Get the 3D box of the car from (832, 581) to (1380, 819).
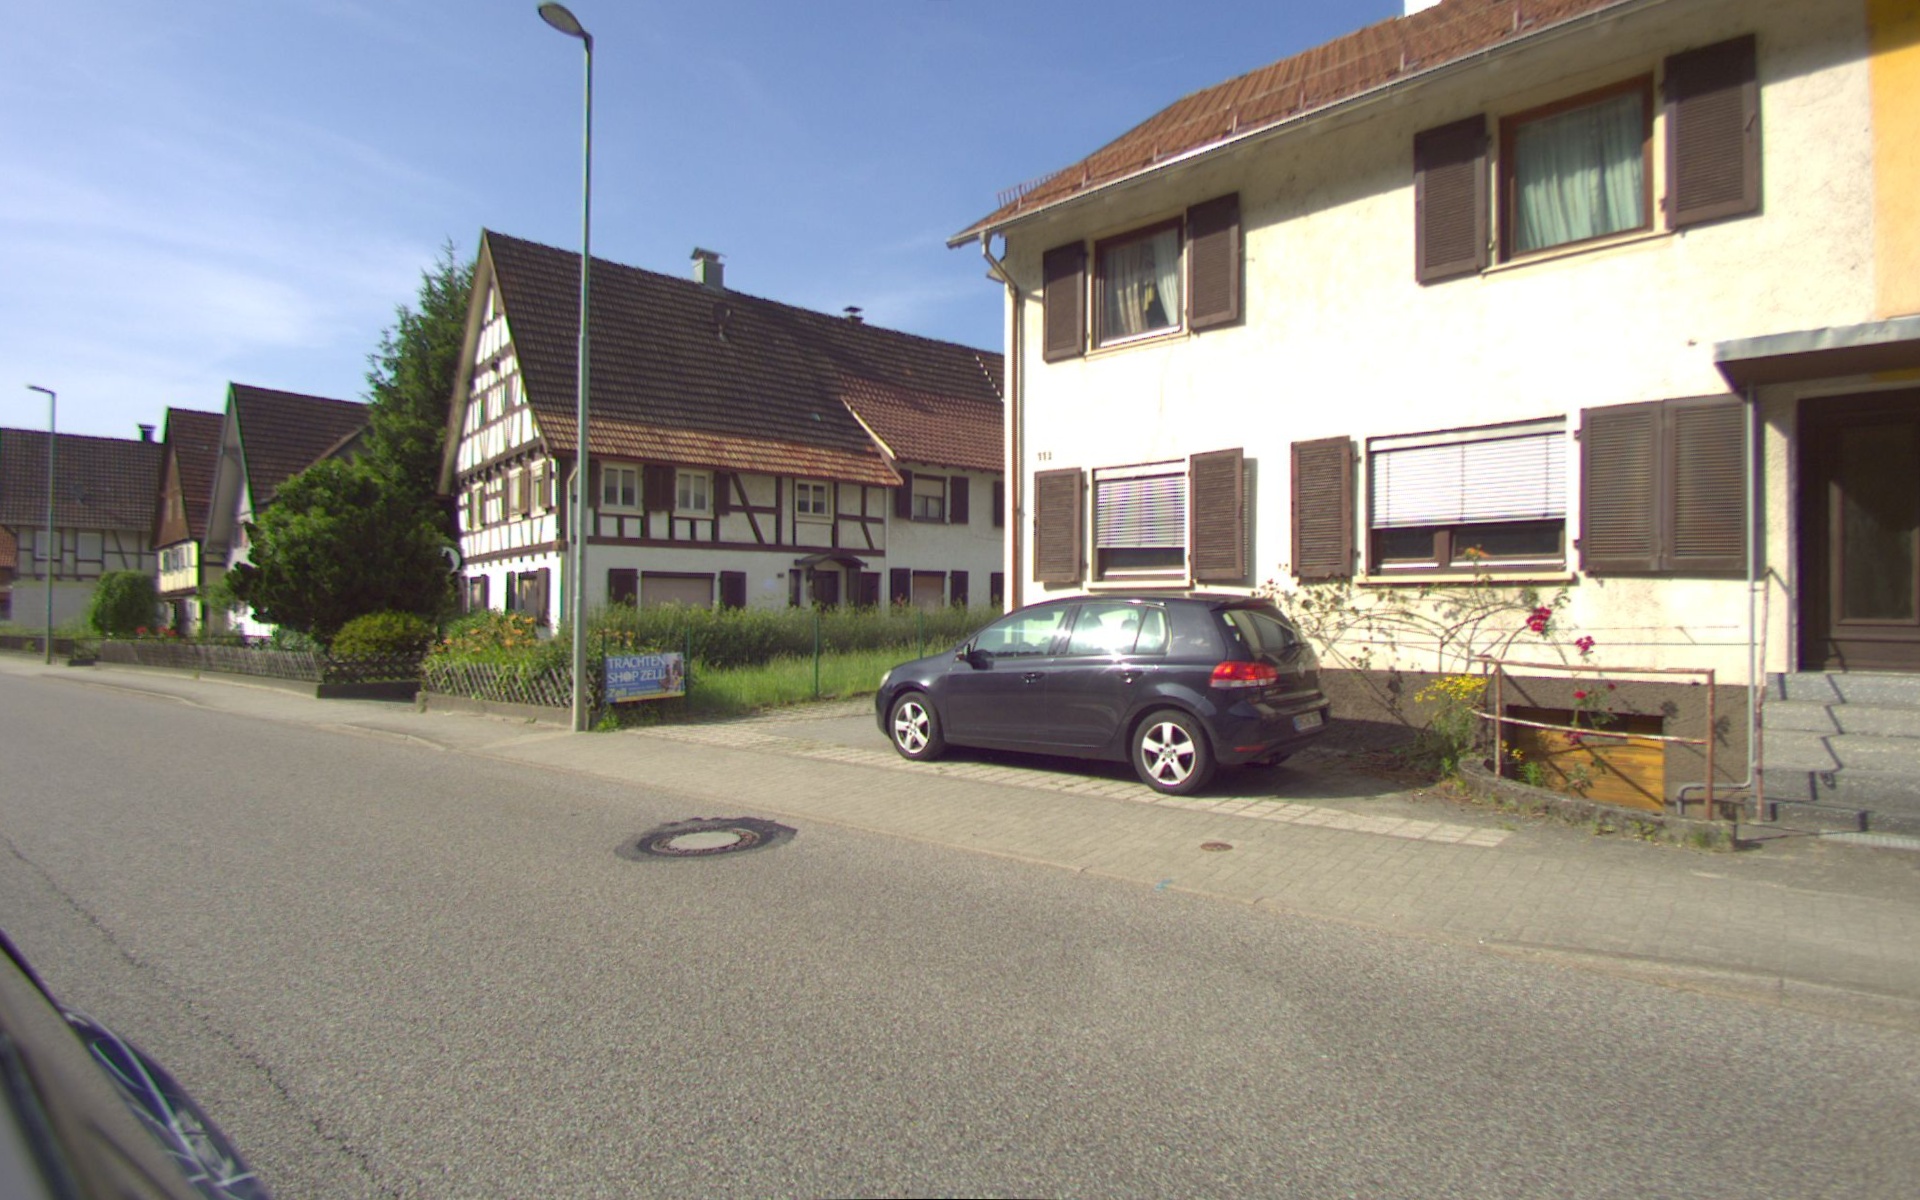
[{"bbox_3d":[1.077,0.676,8.578,4.231,1.530,1.866,-1,-1,39],"label":"car"}]
